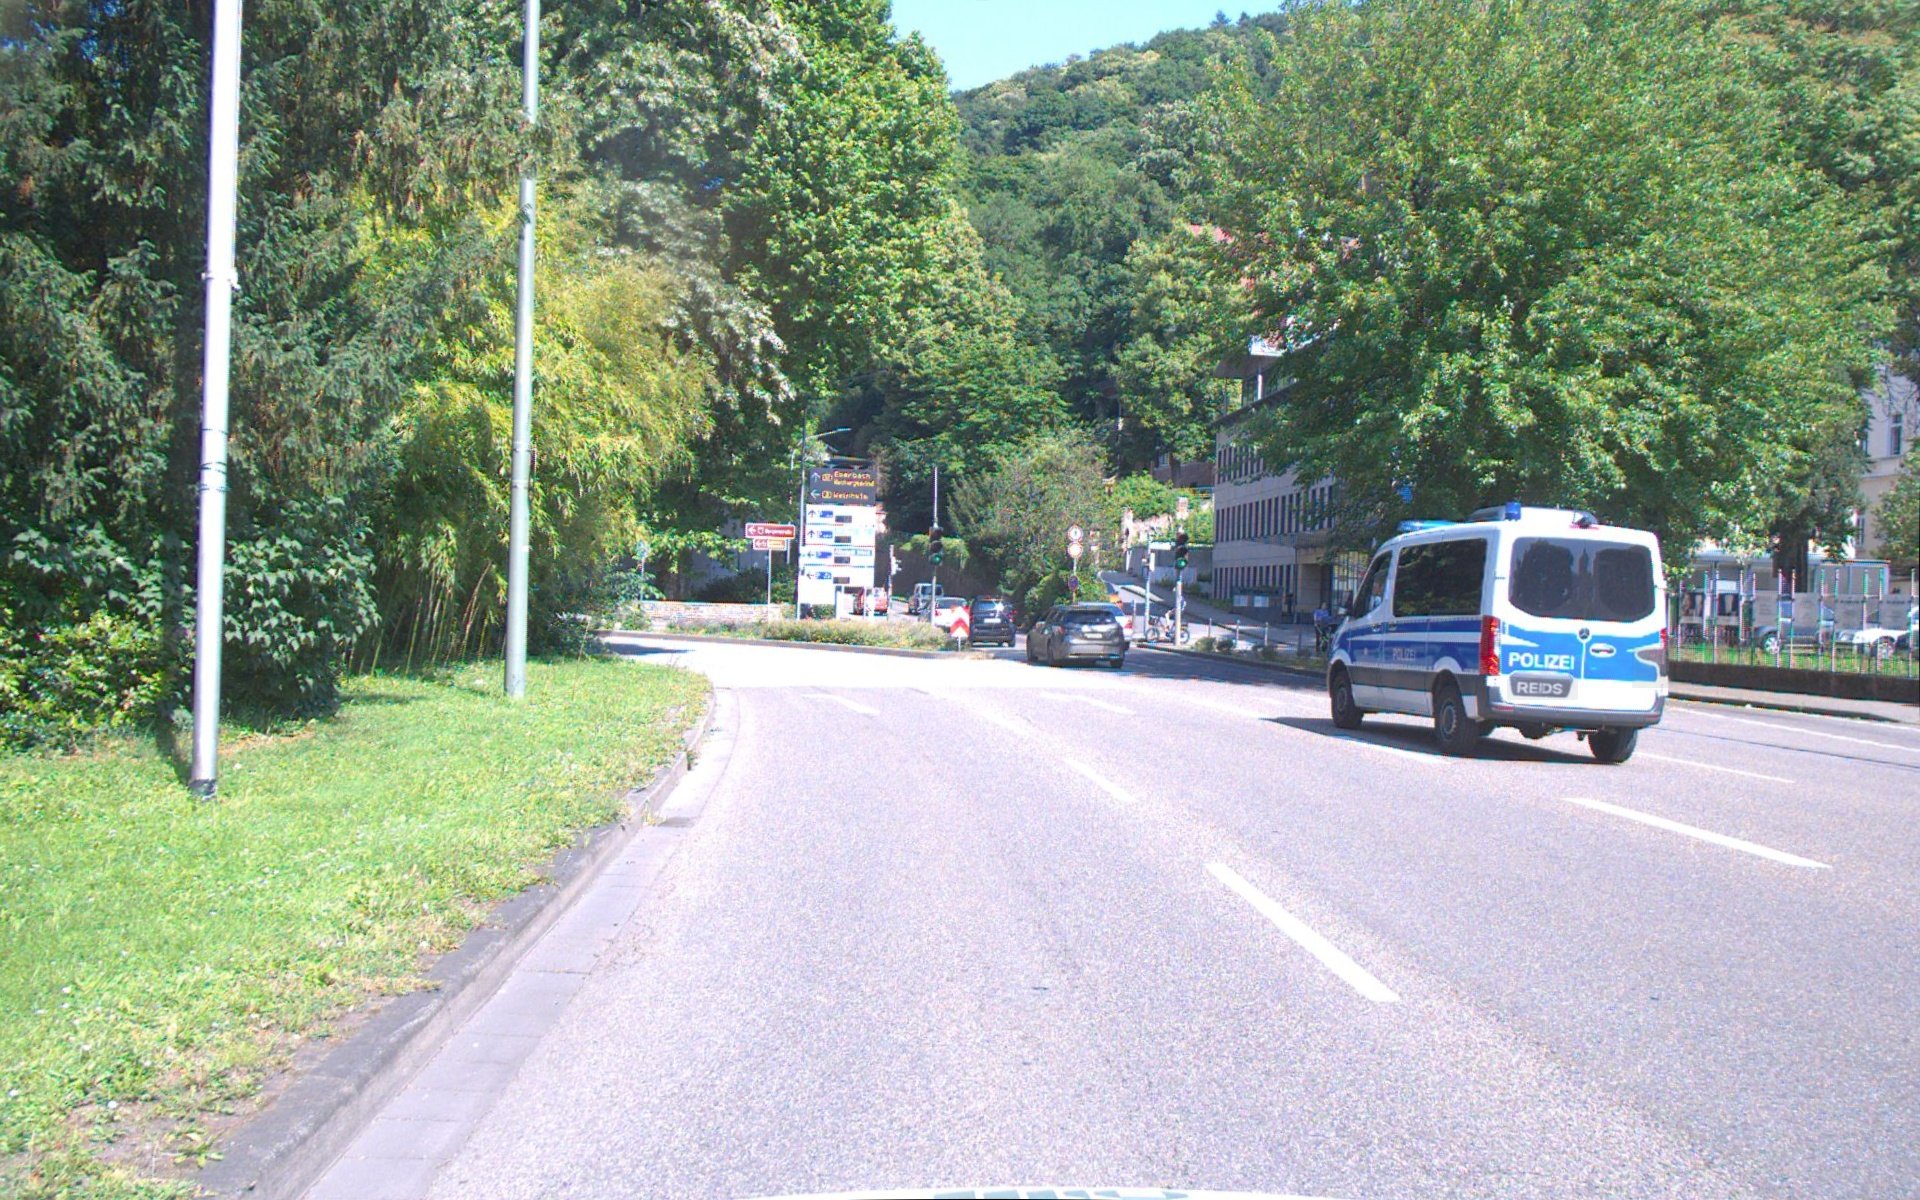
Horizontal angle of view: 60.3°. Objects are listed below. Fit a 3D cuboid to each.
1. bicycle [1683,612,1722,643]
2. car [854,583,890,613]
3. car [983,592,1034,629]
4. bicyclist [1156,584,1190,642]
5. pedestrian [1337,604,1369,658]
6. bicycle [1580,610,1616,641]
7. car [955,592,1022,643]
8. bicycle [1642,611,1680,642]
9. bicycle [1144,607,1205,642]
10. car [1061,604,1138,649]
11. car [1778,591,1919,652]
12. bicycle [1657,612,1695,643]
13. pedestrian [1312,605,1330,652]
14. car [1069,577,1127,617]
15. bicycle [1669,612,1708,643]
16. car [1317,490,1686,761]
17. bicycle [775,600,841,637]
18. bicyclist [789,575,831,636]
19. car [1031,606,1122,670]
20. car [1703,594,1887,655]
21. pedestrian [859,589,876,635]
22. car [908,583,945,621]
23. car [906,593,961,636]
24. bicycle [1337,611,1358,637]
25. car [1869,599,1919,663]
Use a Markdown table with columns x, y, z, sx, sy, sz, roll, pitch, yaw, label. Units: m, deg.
| x | y | z | sx | sy | sz | roll | pitch | yaw | label |
| --- | --- | --- | --- | --- | --- | --- | --- | --- | --- |
| 27.819 | 1.022 | 61.971 | 0.526 | 1.104 | 1.834 | 1 | 0 | -4 | bicycle |
| -4.707 | -0.104 | 88.026 | 1.722 | 1.486 | 3.490 | 2 | 0 | -6 | car |
| 2.066 | 0.439 | 71.129 | 1.722 | 1.486 | 3.641 | 2 | 0 | -6 | car |
| 7.375 | 0.437 | 57.301 | 1.102 | 1.966 | 0.749 | 2 | 0 | 7 | bicyclist |
| 12.698 | 0.994 | 53.447 | 0.756 | 1.692 | 0.829 | 2 | 0 | -5 | pedestrian |
| 23.658 | 0.941 | 61.353 | 0.526 | 1.104 | 1.834 | 1 | 0 | -4 | bicycle |
| 0.889 | 0.535 | 53.030 | 1.722 | 1.486 | 3.490 | 2 | 0 | -6 | car |
| 26.076 | 0.989 | 61.507 | 0.526 | 1.104 | 1.834 | 1 | 0 | -4 | bicycle |
| 7.420 | 0.837 | 57.298 | 2.032 | 1.132 | 0.757 | 2 | 0 | 7 | bicycle |
| 4.254 | 0.798 | 50.913 | 1.722 | 1.234 | 3.490 | 2 | 0 | -6 | car |
| 21.979 | 0.508 | 39.201 | 4.382 | 1.359 | 1.818 | 1 | 0 | -8 | car |
| 26.673 | 1.001 | 61.630 | 0.526 | 1.104 | 1.834 | 1 | 0 | -4 | bicycle |
| 11.595 | 0.916 | 53.170 | 0.479 | 1.483 | 0.734 | 1 | 0 | 18 | pedestrian |
| 6.246 | -0.136 | 75.272 | 1.894 | 1.726 | 3.995 | 1 | 0 | -6 | car |
| 27.237 | 1.010 | 61.860 | 0.526 | 1.104 | 1.834 | 1 | 0 | -4 | bicycle |
| 5.792 | 0.251 | 18.485 | 2.033 | 2.552 | 4.923 | 2 | 0 | -6 | car |
| -5.036 | 0.612 | 54.765 | 2.033 | 1.132 | 0.757 | 2 | 0 | 19 | bicycle |
| -4.962 | 0.176 | 54.743 | 1.102 | 1.966 | 0.748 | 2 | 0 | 20 | bicyclist |
| 2.749 | 0.874 | 39.669 | 1.721 | 1.357 | 3.800 | 2 | 0 | -3 | car |
| 22.183 | 0.653 | 44.021 | 4.068 | 1.501 | 1.873 | 1 | 0 | -11 | car |
| -3.389 | 0.442 | 60.649 | 0.535 | 1.649 | 0.634 | 1 | 0 | 4 | pedestrian |
| -1.864 | 0.095 | 91.909 | 1.722 | 1.972 | 3.490 | 2 | 0 | -6 | car |
| -1.005 | 0.520 | 61.430 | 1.722 | 1.486 | 3.641 | 2 | 0 | -6 | car |
| 15.155 | 0.943 | 64.654 | 0.397 | 0.957 | 1.340 | 1 | 0 | -5 | bicycle |
| 22.623 | 0.716 | 36.702 | 4.008 | 1.359 | 1.818 | 1 | 0 | -8 | car |
